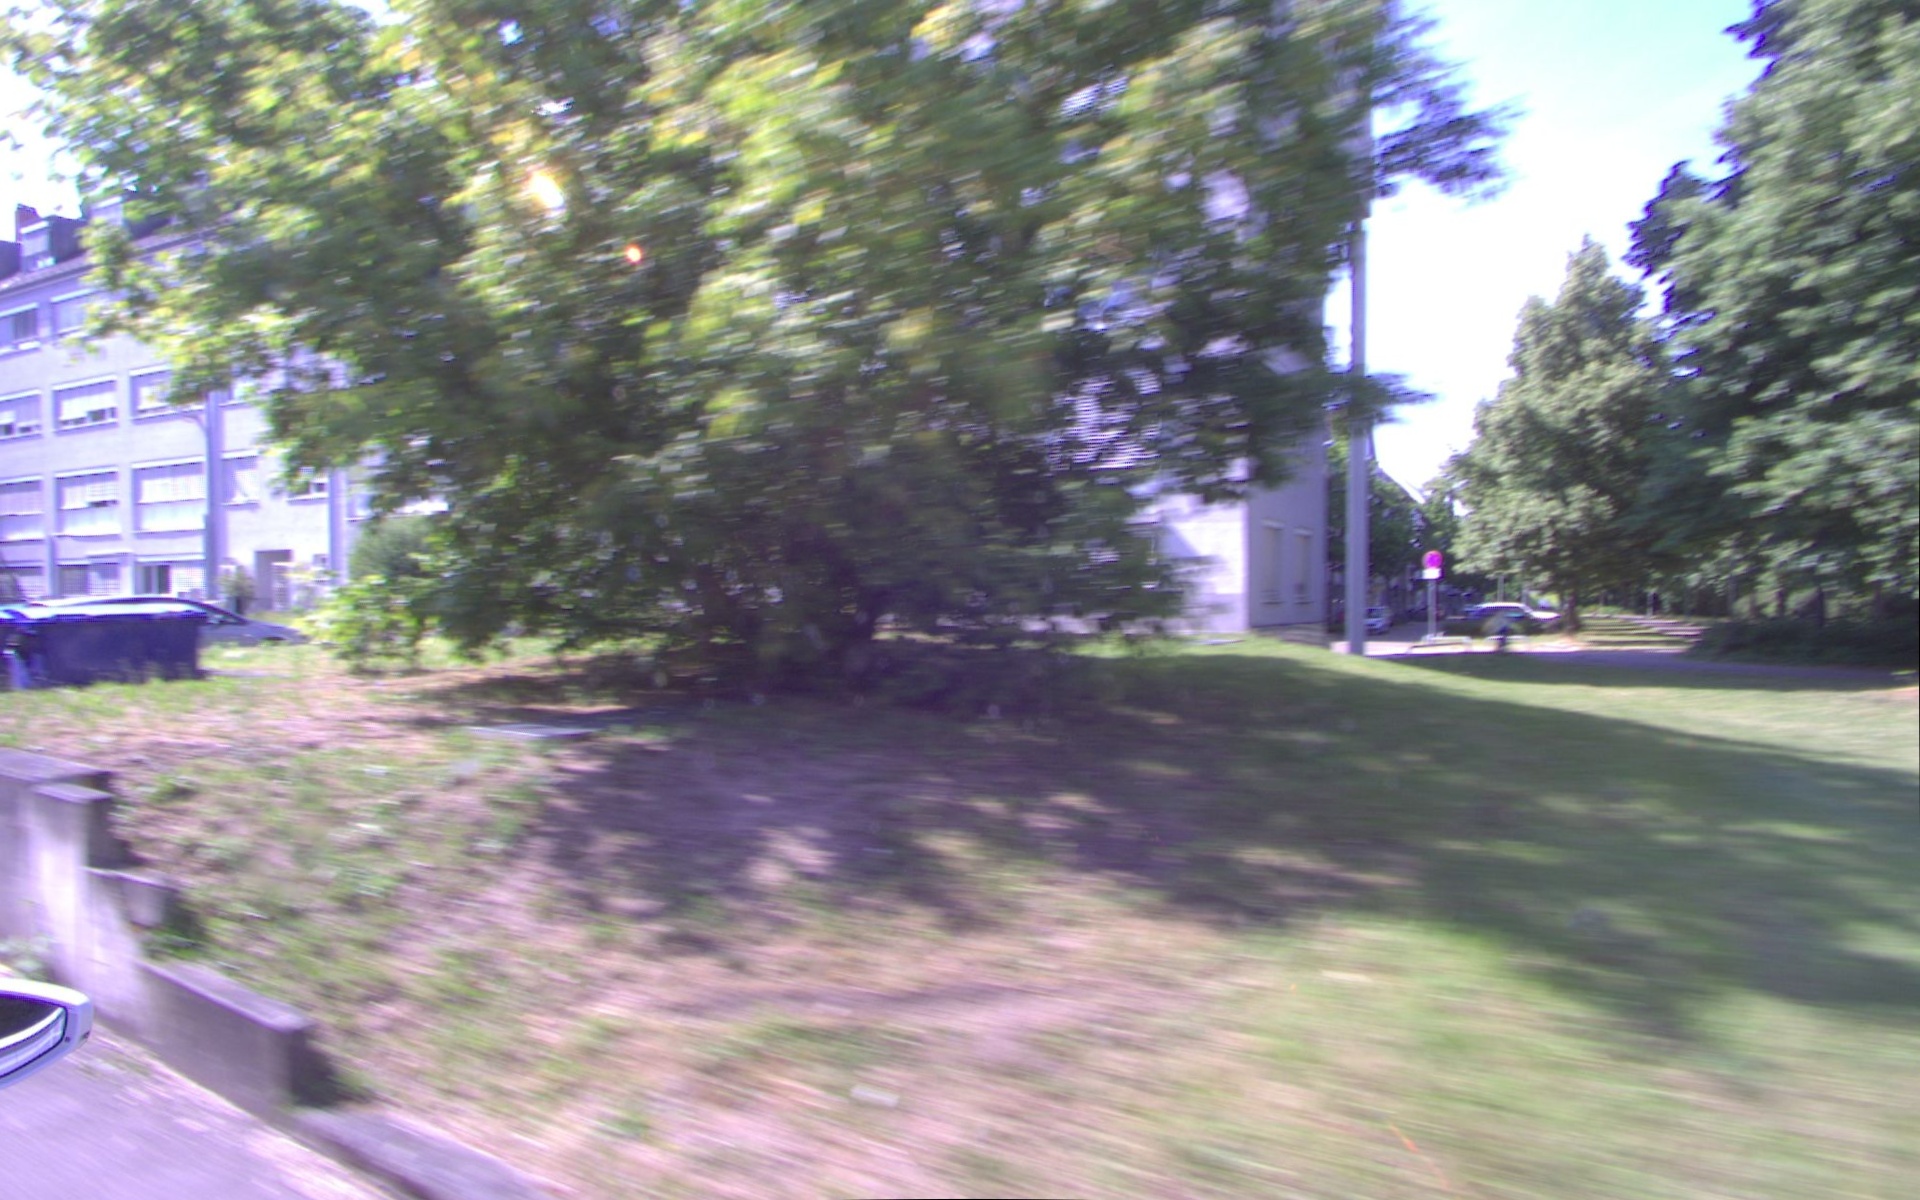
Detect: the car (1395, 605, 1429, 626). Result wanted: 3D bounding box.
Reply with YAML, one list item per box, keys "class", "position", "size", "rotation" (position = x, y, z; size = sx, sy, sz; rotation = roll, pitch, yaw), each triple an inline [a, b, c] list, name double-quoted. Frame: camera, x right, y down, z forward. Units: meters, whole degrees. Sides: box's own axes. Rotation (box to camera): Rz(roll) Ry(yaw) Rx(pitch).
- class: "car"
  position: [36.211, 1.219, 80.107]
  size: [1.867, 1.639, 4.284]
  rotation: [0, 0, 33]

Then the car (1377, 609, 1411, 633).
- class: "car"
  position: [29.627, 1.414, 68.331]
  size: [1.656, 1.545, 3.981]
  rotation: [0, 0, 30]

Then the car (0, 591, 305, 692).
- class: "car"
  position: [-13.446, 0.584, 16.573]
  size: [1.784, 1.446, 3.982]
  rotation: [0, 1, 29]

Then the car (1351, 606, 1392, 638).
- class: "car"
  position: [23.373, 1.192, 56.790]
  size: [1.832, 1.618, 3.984]
  rotation: [1, 2, 26]

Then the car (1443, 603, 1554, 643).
- class: "car"
  position: [24.820, 1.004, 46.206]
  size: [4.307, 1.662, 1.988]
  rotation: [1, 2, 34]

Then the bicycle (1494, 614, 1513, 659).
- class: "bicycle"
  position: [13.521, 0.888, 24.883]
  size: [0.389, 1.063, 1.443]
  rotation: [1, 1, 29]

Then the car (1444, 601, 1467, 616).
- class: "car"
  position: [57.708, 0.931, 116.615]
  size: [1.971, 1.618, 3.978]
  rotation: [1, 2, 31]

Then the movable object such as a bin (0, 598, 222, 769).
- class: "movable object such as a bin"
  position: [-7.448, 0.662, 8.801]
  size: [1.127, 1.358, 1.243]
  rotation: [1, 1, 35]

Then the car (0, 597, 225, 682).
- class: "car"
  position: [-16.258, 0.657, 18.493]
  size: [1.664, 1.413, 3.979]
  rotation: [0, 1, 31]

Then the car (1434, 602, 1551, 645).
- class: "car"
  position: [23.461, 0.992, 44.166]
  size: [4.376, 1.662, 1.988]
  rotation: [1, 2, 34]

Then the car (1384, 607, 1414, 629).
- class: "car"
  position: [32.544, 1.307, 74.180]
  size: [1.656, 1.545, 3.981]
  rotation: [0, 0, 30]

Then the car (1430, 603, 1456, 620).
- class: "car"
  position: [49.279, 1.191, 102.101]
  size: [1.971, 1.618, 3.978]
  rotation: [1, 2, 31]

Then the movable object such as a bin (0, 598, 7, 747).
- class: "movable object such as a bin"
  position: [-9.575, 0.670, 8.943]
  size: [1.111, 1.373, 1.246]
  rotation: [0, 1, 29]

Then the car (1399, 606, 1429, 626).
- class: "car"
  position: [40.420, 1.412, 89.089]
  size: [1.971, 1.618, 3.978]
  rotation: [1, 2, 31]

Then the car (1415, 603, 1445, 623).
- class: "car"
  position: [43.864, 1.217, 93.402]
  size: [1.971, 1.783, 4.567]
  rotation: [0, 0, 32]

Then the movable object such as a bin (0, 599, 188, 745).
- class: "movable object such as a bin"
  position: [-8.730, 0.669, 10.076]
  size: [1.125, 1.354, 1.154]
  rotation: [0, 1, 29]

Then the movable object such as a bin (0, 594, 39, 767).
- class: "movable object such as a bin"
  position: [-8.134, 0.653, 7.718]
  size: [1.126, 1.337, 1.243]
  rotation: [-1, 2, 34]
